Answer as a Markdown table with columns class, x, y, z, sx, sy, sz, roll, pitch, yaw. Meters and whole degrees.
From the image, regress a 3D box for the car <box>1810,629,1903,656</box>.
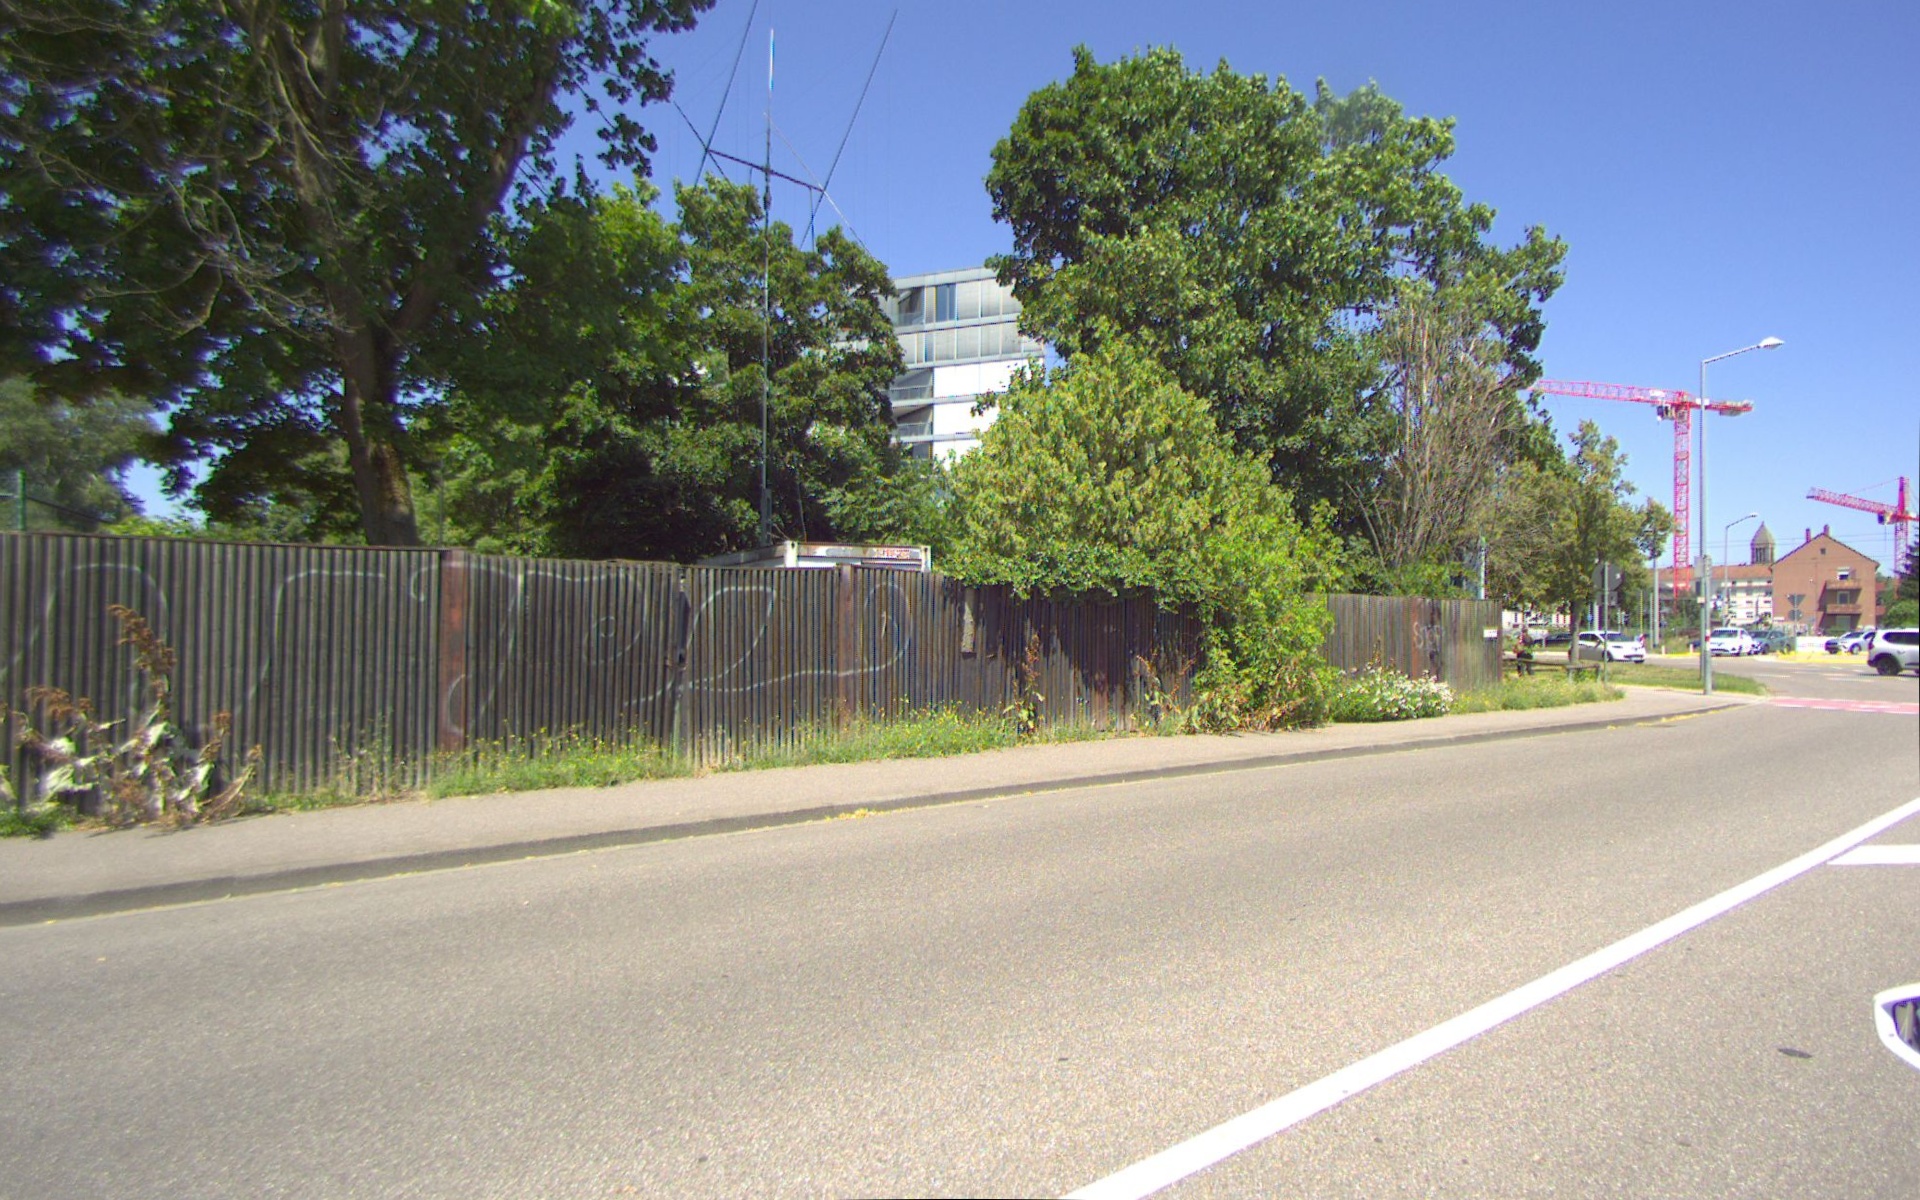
| class | x | y | z | sx | sy | sz | roll | pitch | yaw |
| --- | --- | --- | --- | --- | --- | --- | --- | --- | --- |
| car | 55.660 | 2.618 | 62.416 | 4.136 | 1.520 | 1.713 | 1 | -1 | 3 |

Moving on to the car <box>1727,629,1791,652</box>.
| class | x | y | z | sx | sy | sz | roll | pitch | yaw |
| --- | --- | --- | --- | --- | --- | --- | --- | --- | --- |
| car | 46.653 | 2.369 | 58.629 | 3.742 | 1.253 | 1.699 | 1 | -1 | -30 |

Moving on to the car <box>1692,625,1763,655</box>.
| class | x | y | z | sx | sy | sz | roll | pitch | yaw |
| --- | --- | --- | --- | --- | --- | --- | --- | --- | --- |
| car | 42.273 | 2.172 | 55.309 | 3.953 | 1.570 | 1.748 | 1 | -1 | -30 |

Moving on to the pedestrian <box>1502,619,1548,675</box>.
| class | x | y | z | sx | sy | sz | roll | pitch | yaw |
| --- | --- | --- | --- | --- | --- | --- | --- | --- | --- |
| pedestrian | 16.625 | 1.375 | 29.589 | 0.796 | 1.584 | 0.876 | 1 | 0 | -7 |

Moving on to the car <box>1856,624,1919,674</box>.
| class | x | y | z | sx | sy | sz | roll | pitch | yaw |
| --- | --- | --- | --- | --- | --- | --- | --- | --- | --- |
| car | 32.434 | 1.643 | 32.798 | 1.963 | 1.587 | 4.584 | 1 | -1 | -7 |

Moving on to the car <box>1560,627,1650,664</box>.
| class | x | y | z | sx | sy | sz | roll | pitch | yaw |
| --- | --- | --- | --- | --- | --- | --- | --- | --- | --- |
| car | 31.323 | 2.175 | 48.904 | 1.648 | 1.641 | 4.010 | 1 | -1 | -3 |
